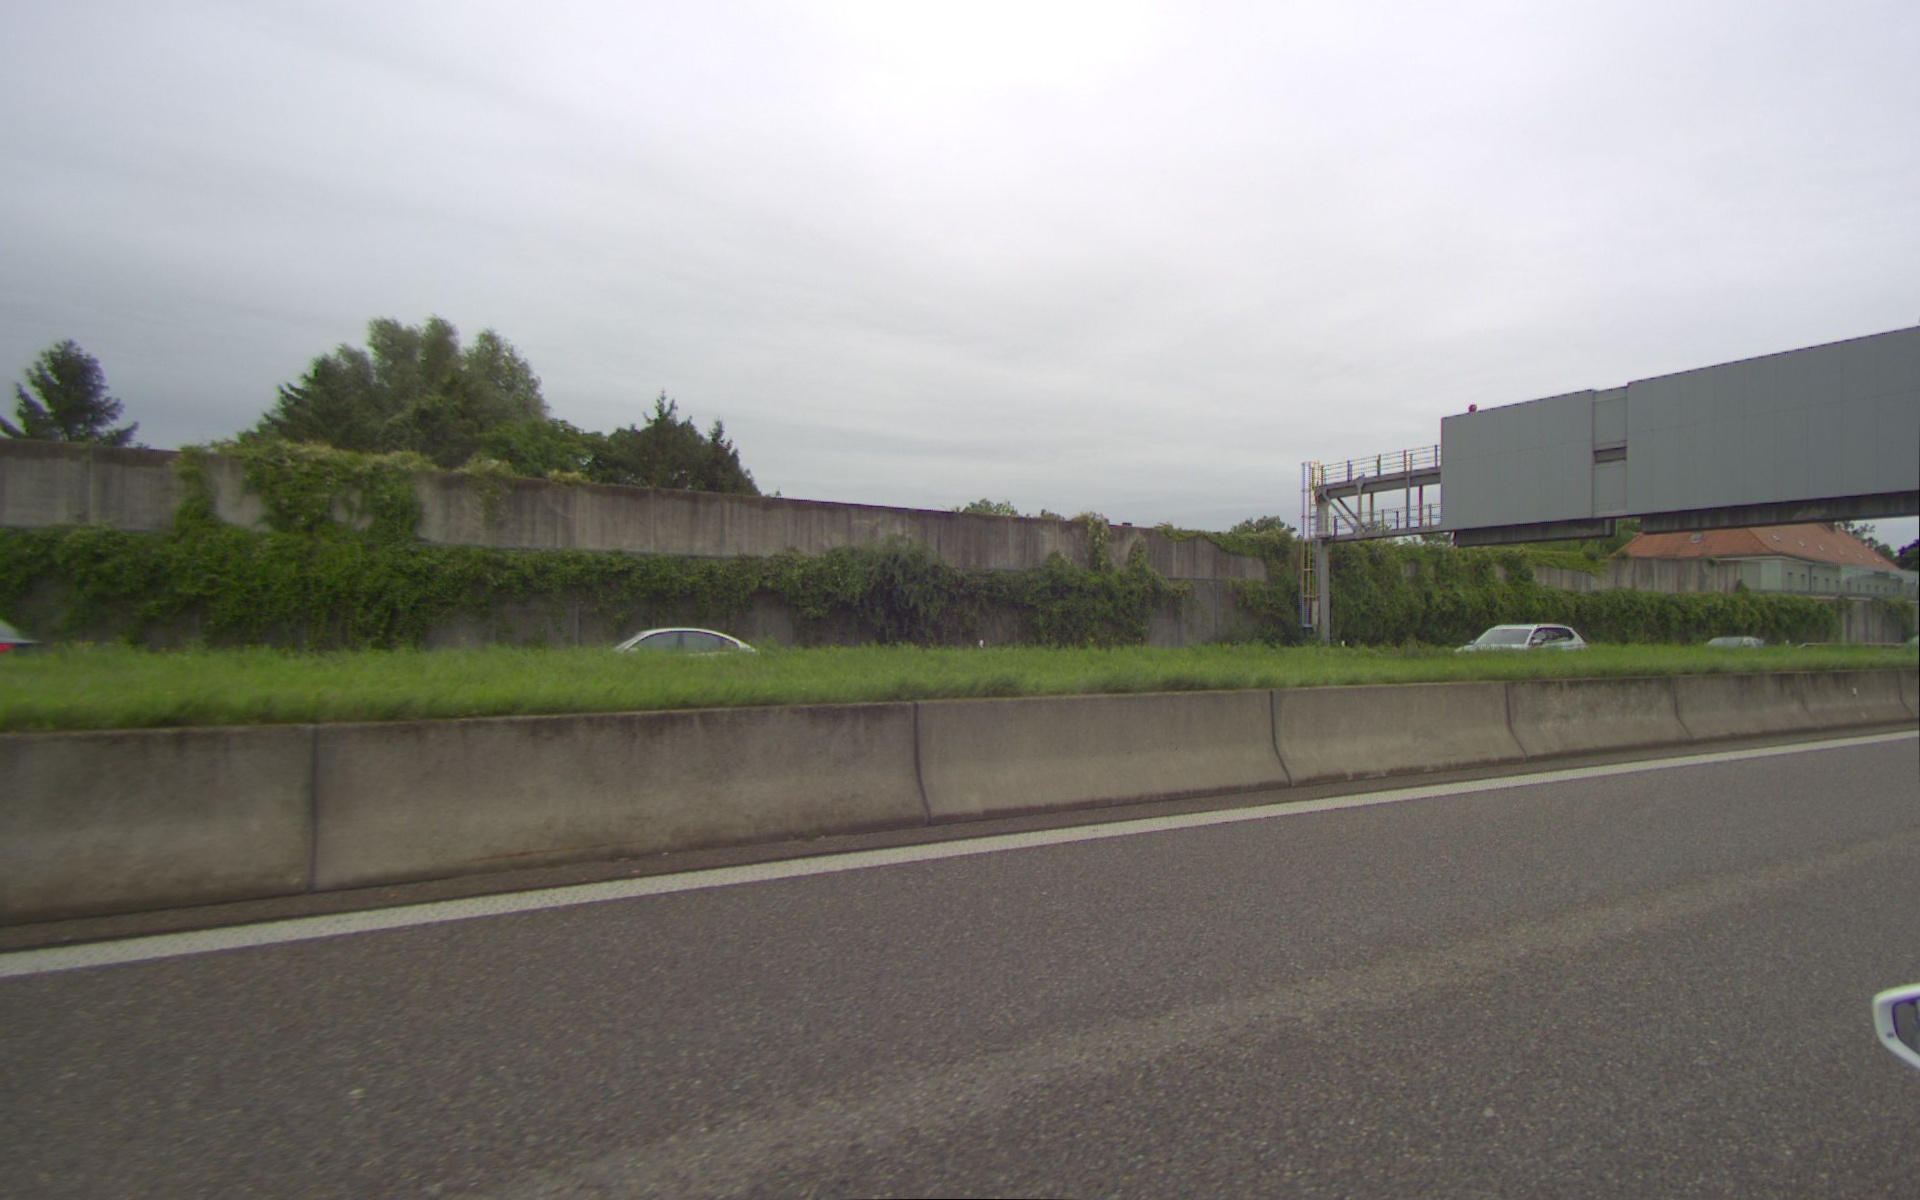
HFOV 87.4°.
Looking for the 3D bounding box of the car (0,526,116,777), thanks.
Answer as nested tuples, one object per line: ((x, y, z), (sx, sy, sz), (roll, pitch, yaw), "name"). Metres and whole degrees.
((-9.871, 0.354, 8.056), (4.418, 2.040, 1.914), (2, 0, -30), "car")

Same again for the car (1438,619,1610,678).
((15.663, 1.312, 27.831), (4.876, 1.473, 1.984), (1, -1, -30), "car")

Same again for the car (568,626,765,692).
((-5.515, 1.071, 18.945), (3.240, 1.110, 1.595), (1, -1, -33), "car")
